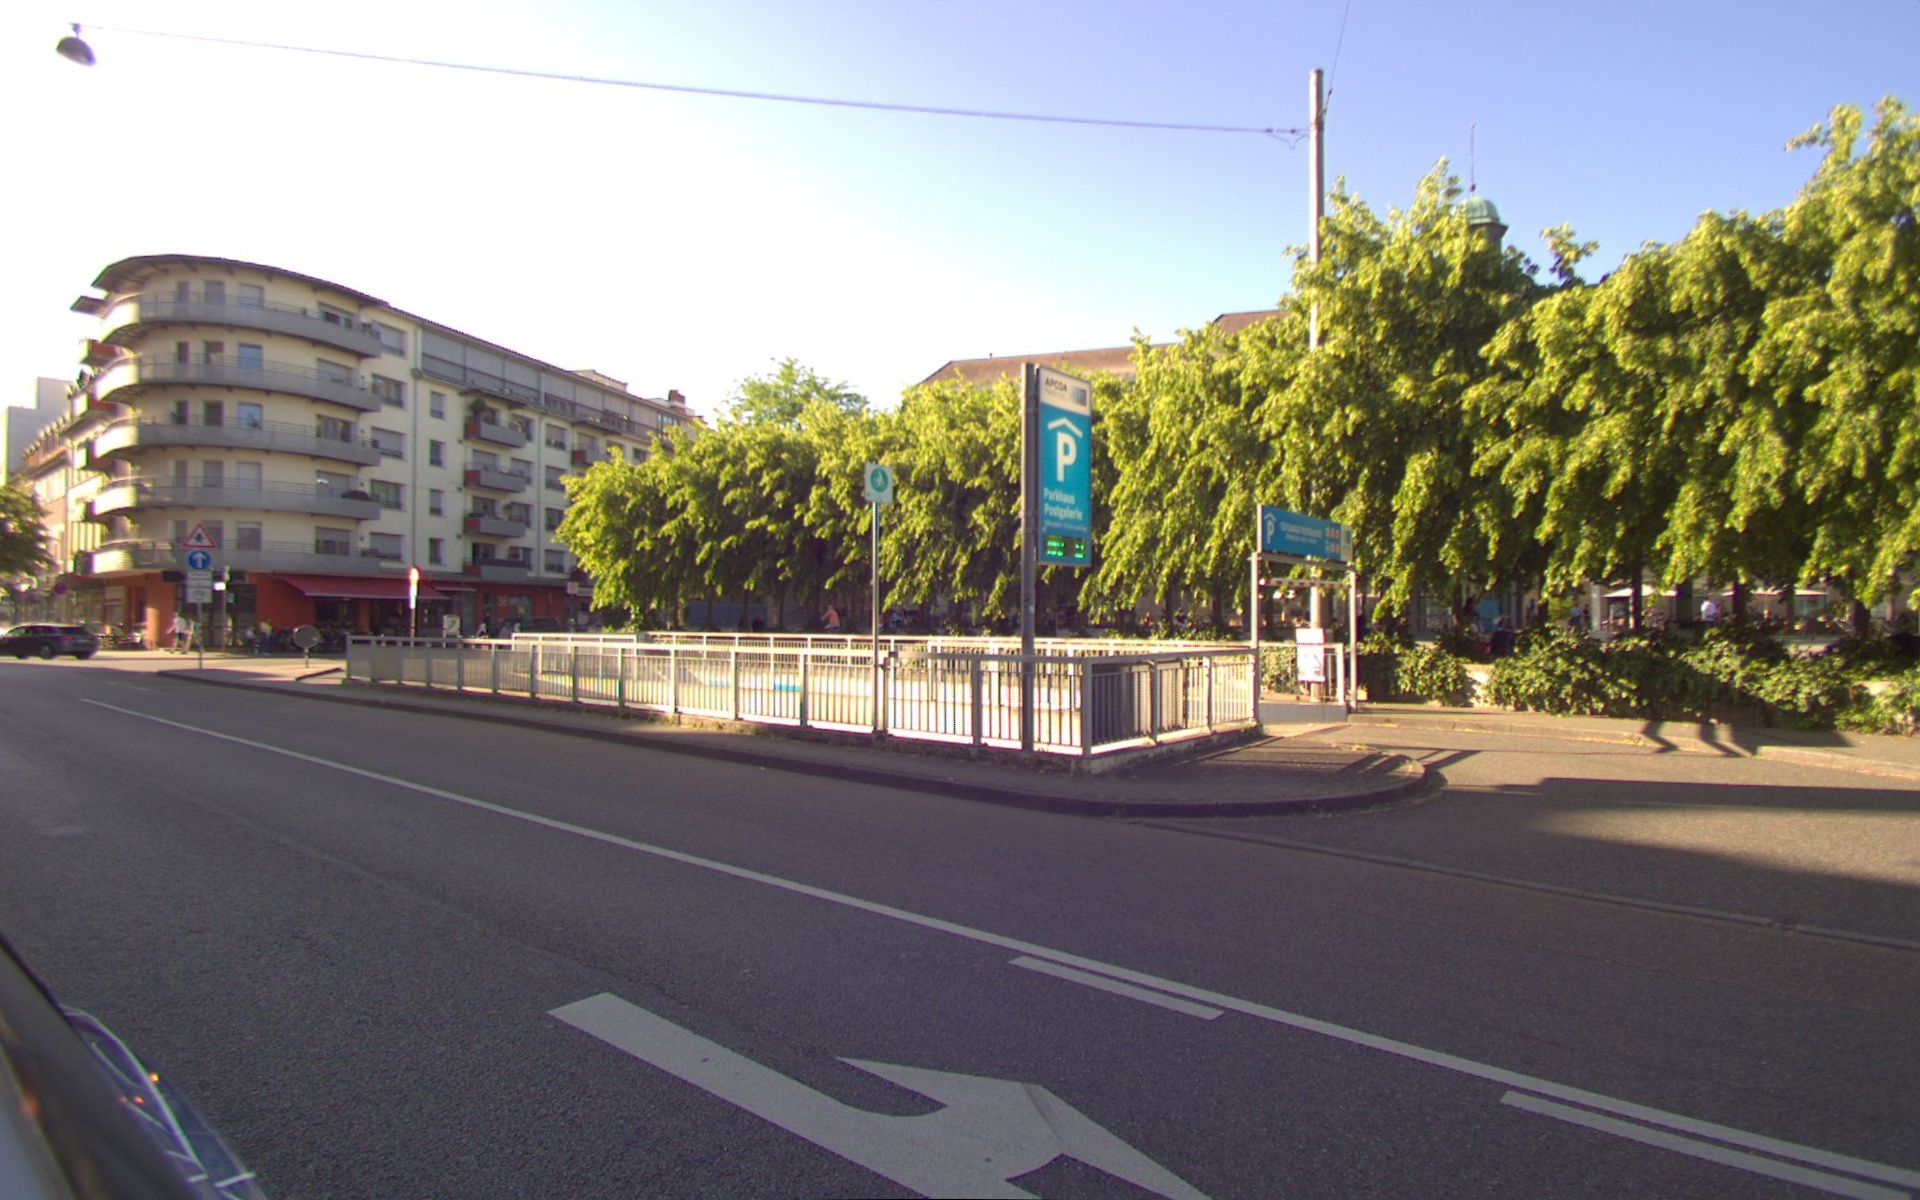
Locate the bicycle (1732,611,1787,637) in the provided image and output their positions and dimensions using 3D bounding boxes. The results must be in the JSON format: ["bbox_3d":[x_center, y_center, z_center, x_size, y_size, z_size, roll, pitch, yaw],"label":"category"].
[{"bbox_3d":[32.555,0.974,41.224,0.496,1.024,2.061,-1,0,-3],"label":"bicycle"}]

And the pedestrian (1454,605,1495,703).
[{"bbox_3d":[10.049,1.039,19.770,0.674,1.870,0.577,-1,0,30],"label":"pedestrian"}]

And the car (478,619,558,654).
[{"bbox_3d":[-25.886,2.130,59.459,1.938,1.927,4.403,-1,-1,17],"label":"car"}]

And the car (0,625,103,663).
[{"bbox_3d":[-36.001,1.695,39.331,3.869,1.407,1.808,-1,-1,-2],"label":"car"}]

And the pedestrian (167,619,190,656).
[{"bbox_3d":[-34.908,1.676,45.211,0.790,1.634,0.565,-1,-1,31],"label":"pedestrian"}]

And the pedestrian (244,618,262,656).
[{"bbox_3d":[-33.055,1.729,47.285,0.642,1.721,0.568,-2,-2,43],"label":"pedestrian"}]

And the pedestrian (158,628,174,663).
[{"bbox_3d":[-35.148,2.024,44.792,0.514,1.541,0.372,-1,-1,30],"label":"pedestrian"}]

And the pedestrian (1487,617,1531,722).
[{"bbox_3d":[10.064,1.254,18.548,0.600,1.870,0.575,-1,-1,38],"label":"pedestrian"}]

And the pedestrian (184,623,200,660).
[{"bbox_3d":[-34.652,1.865,45.642,0.515,1.685,0.437,-1,-1,33],"label":"pedestrian"}]

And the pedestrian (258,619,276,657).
[{"bbox_3d":[-32.196,1.748,47.033,0.642,1.721,0.568,-2,-2,43],"label":"pedestrian"}]

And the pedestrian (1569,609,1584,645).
[{"bbox_3d":[30.547,1.336,50.148,0.599,1.806,0.576,-1,-1,31],"label":"pedestrian"}]

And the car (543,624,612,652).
[{"bbox_3d":[-24.435,2.405,64.826,1.938,1.633,4.272,-1,-1,17],"label":"car"}]

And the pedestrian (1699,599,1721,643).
[{"bbox_3d":[31.087,0.848,41.962,0.598,1.806,0.577,-1,0,27],"label":"pedestrian"}]

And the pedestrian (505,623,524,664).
[{"bbox_3d":[-20.053,1.939,45.574,0.574,1.806,0.601,-1,0,0],"label":"pedestrian"}]

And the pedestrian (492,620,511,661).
[{"bbox_3d":[-20.313,1.784,44.817,0.574,1.806,0.602,-1,0,-5],"label":"pedestrian"}]

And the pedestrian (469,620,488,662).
[{"bbox_3d":[-20.852,1.763,43.811,0.574,1.806,0.602,-1,0,-5],"label":"pedestrian"}]

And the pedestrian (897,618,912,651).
[{"bbox_3d":[-3.049,1.908,55.683,0.578,1.806,0.597,-1,0,21],"label":"pedestrian"}]
